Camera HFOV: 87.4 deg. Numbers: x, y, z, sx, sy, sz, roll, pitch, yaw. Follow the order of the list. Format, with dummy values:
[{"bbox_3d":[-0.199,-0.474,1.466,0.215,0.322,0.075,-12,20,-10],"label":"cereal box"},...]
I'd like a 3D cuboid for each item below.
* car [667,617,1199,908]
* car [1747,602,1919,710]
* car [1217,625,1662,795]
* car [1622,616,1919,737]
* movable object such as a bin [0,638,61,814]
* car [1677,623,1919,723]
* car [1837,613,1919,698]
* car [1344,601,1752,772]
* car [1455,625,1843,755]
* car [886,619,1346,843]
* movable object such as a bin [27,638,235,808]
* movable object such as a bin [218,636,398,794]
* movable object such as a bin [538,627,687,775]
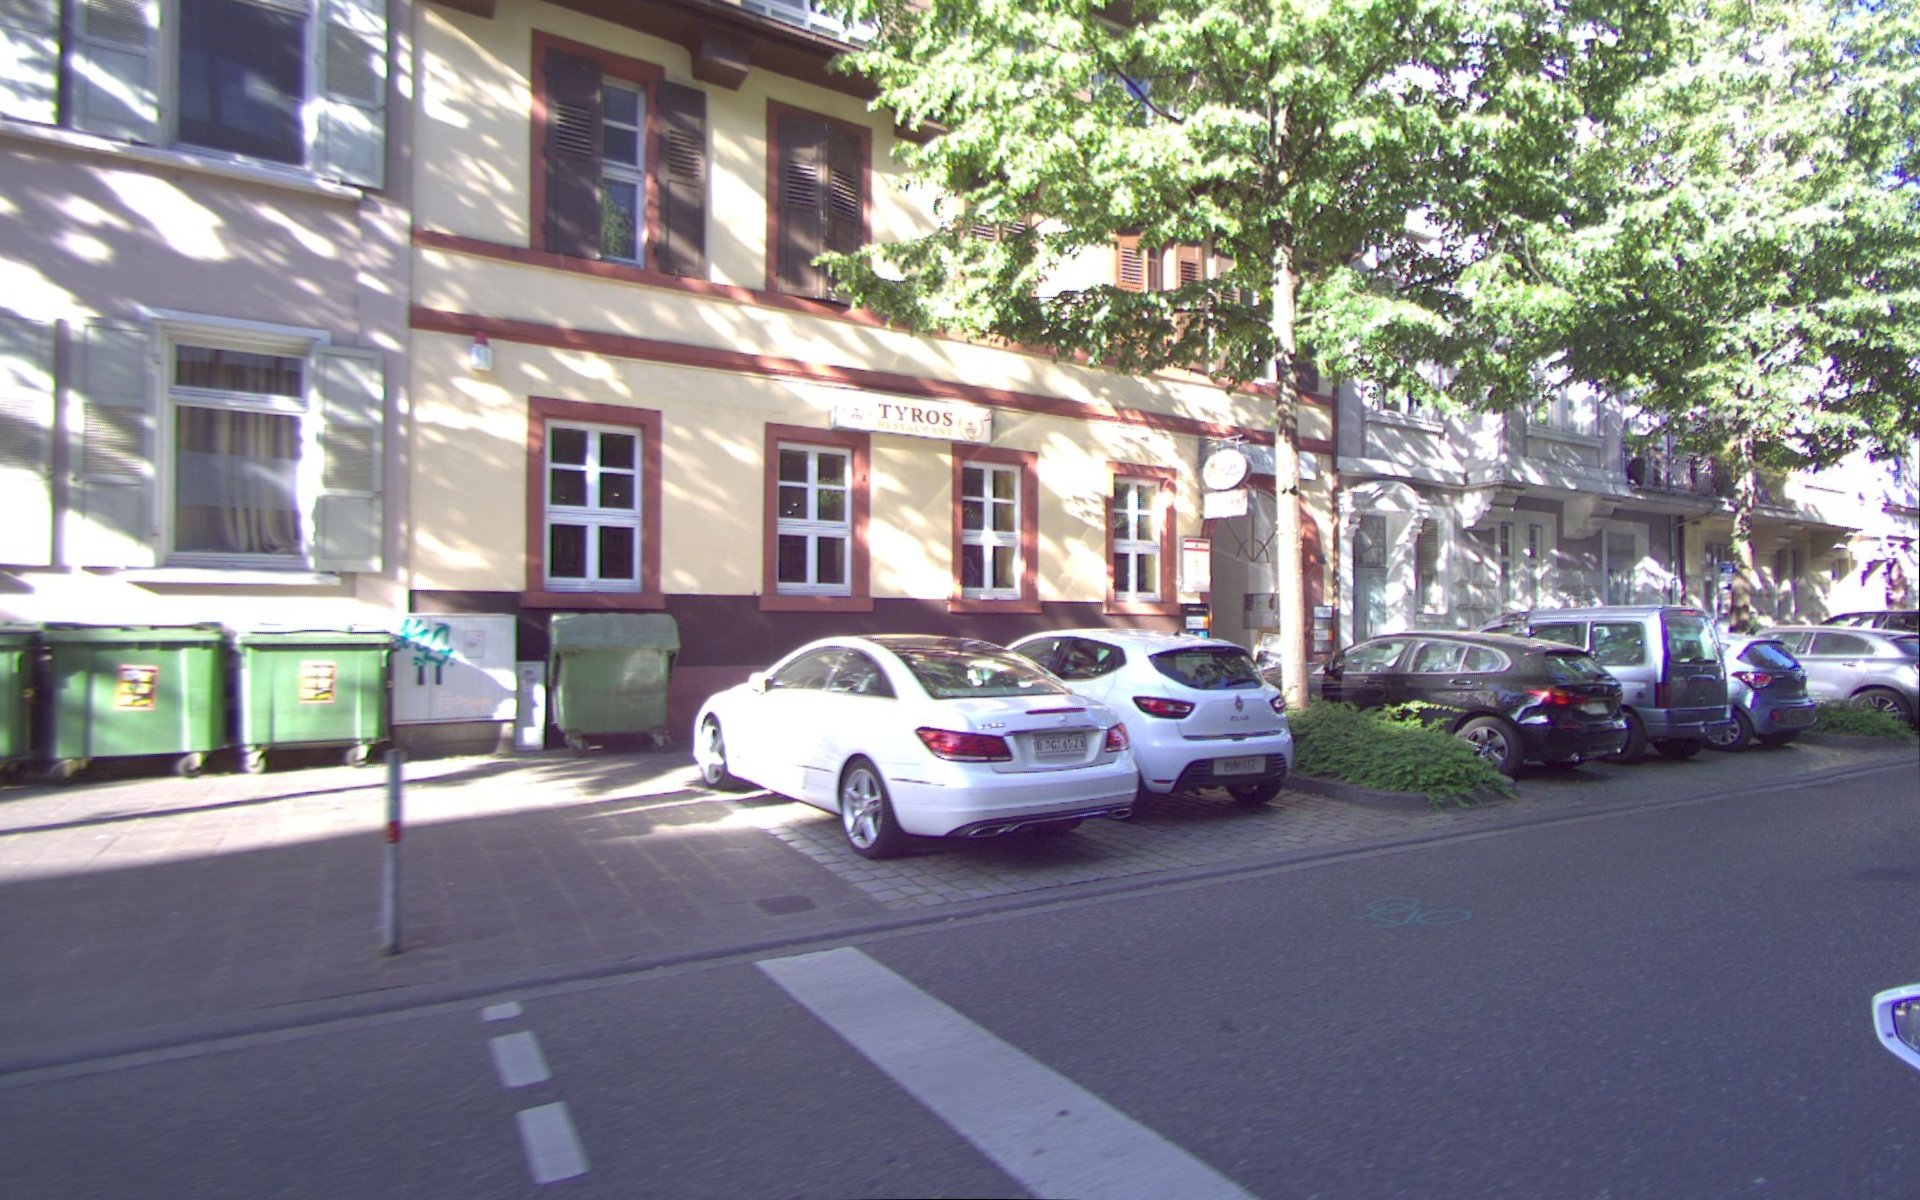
[{"bbox_3d":[-0.569,0.952,7.960,1.980,1.512,4.669,2,-1,-34],"label":"car"},{"bbox_3d":[18.092,1.043,19.105,1.906,1.952,4.556,1,-1,-28],"label":"car"},{"bbox_3d":[5.326,1.089,11.717,1.945,1.565,4.311,1,-1,-35],"label":"car"},{"bbox_3d":[13.793,1.151,16.670,1.895,1.756,4.316,1,-1,-32],"label":"car"},{"bbox_3d":[-8.313,1.015,8.188,1.245,1.385,0.906,1,-1,-27],"label":"movable object such as a bin"},{"bbox_3d":[15.783,1.242,18.073,1.895,1.616,4.316,1,-1,-32],"label":"car"},{"bbox_3d":[22.309,1.231,22.114,1.901,1.858,4.303,1,-2,-40],"label":"car"},{"bbox_3d":[7.480,0.989,13.283,1.906,1.848,4.322,1,-1,-28],"label":"car"},{"bbox_3d":[9.739,1.157,14.627,1.891,1.565,4.325,1,-1,-26],"label":"car"},{"bbox_3d":[1.163,0.993,9.768,1.976,1.512,4.678,0,0,-30],"label":"car"},{"bbox_3d":[-7.248,1.030,8.863,1.232,1.373,0.826,1,-1,-27],"label":"movable object such as a bin"},{"bbox_3d":[-6.102,1.034,9.498,1.328,1.380,0.814,1,-1,-28],"label":"movable object such as a bin"},{"bbox_3d":[-3.749,1.025,10.801,1.364,1.464,1.129,1,-1,-27],"label":"movable object such as a bin"}]
